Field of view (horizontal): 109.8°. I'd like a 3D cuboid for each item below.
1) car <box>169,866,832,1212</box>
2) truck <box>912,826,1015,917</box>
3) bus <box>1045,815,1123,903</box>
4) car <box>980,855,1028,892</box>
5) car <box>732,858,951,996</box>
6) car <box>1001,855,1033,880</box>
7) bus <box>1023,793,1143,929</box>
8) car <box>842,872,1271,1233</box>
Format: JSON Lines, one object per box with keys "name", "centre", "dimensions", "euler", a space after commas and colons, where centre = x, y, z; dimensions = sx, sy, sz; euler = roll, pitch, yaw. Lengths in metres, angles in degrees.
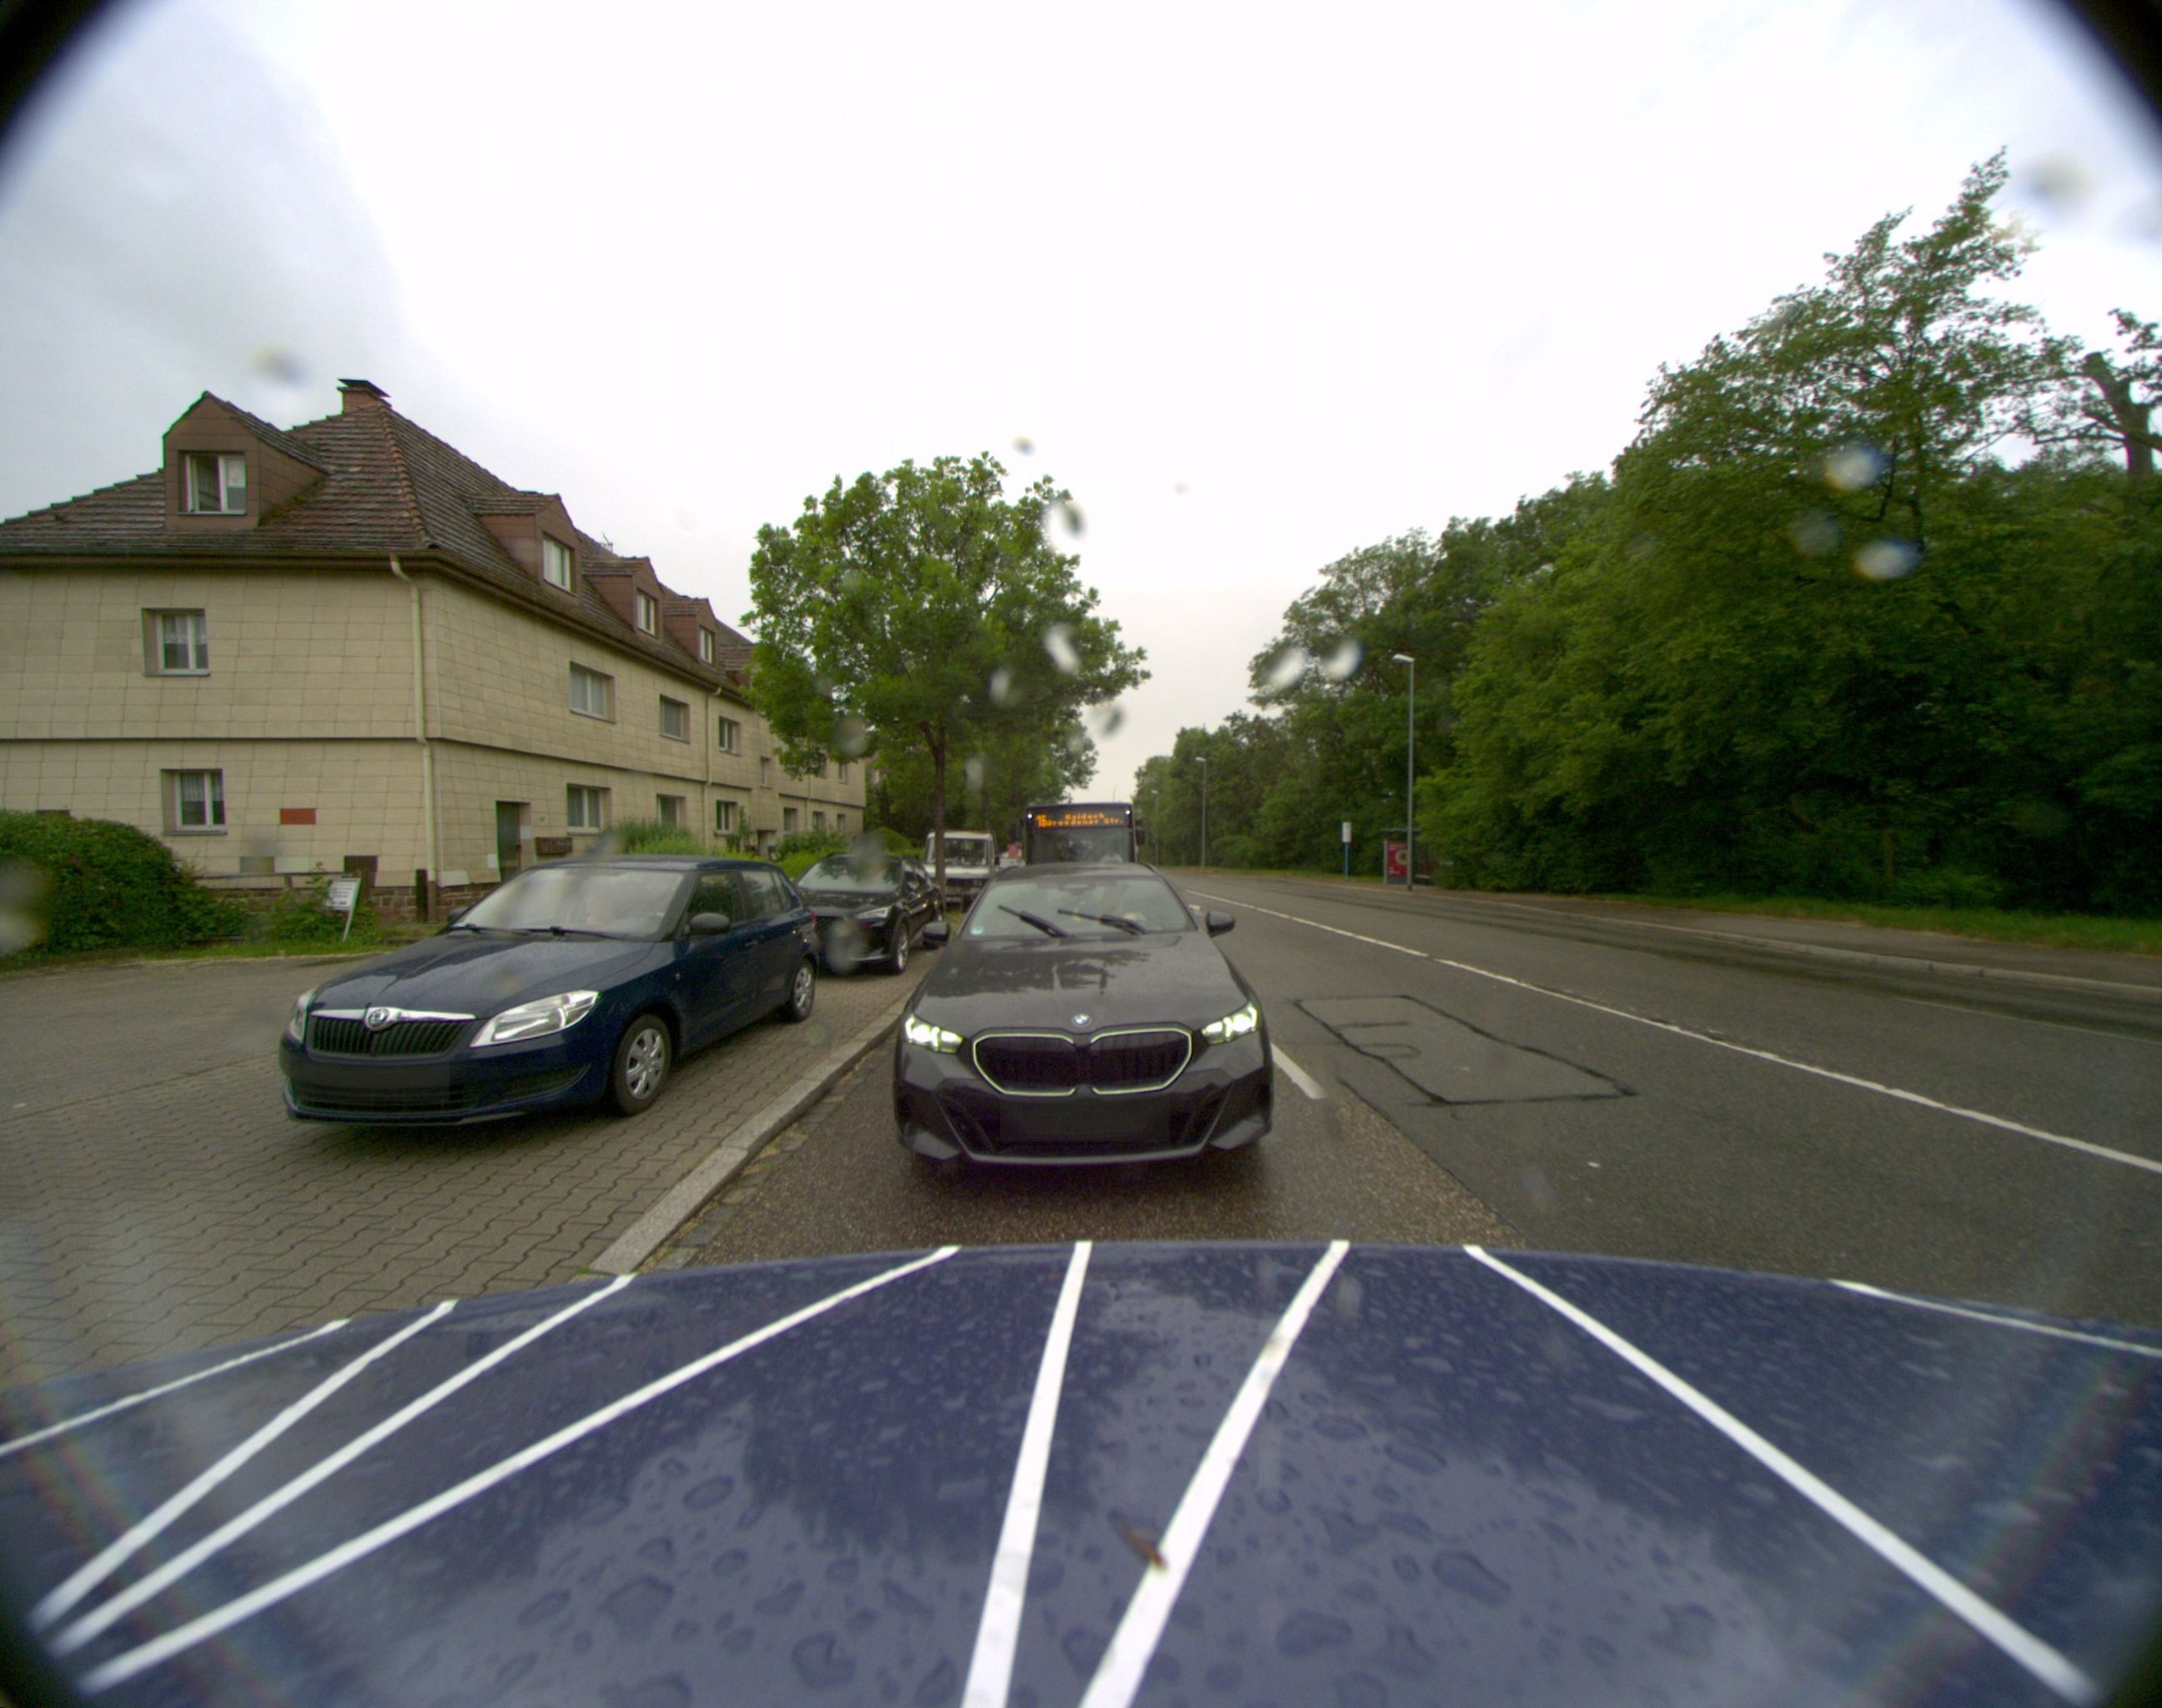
{"name": "car", "centre": [-3.227, 0.854, 5.312], "dimensions": [1.608, 1.463, 3.856], "euler": [1, 0, 1]}
{"name": "truck", "centre": [-3.237, 0.438, 22.304], "dimensions": [2.085, 2.208, 6.500], "euler": [2, 0, -1]}
{"name": "bus", "centre": [-0.093, 0.169, 30.237], "dimensions": [2.562, 2.942, 8.554], "euler": [-1, 0, -3]}
{"name": "car", "centre": [-3.314, 0.904, 33.357], "dimensions": [1.605, 1.427, 4.023], "euler": [3, -3, 0]}
{"name": "car", "centre": [-3.074, 0.840, 10.706], "dimensions": [1.718, 1.490, 4.183], "euler": [2, 0, 0]}
{"name": "car", "centre": [-3.926, 0.793, 46.980], "dimensions": [1.692, 1.381, 4.499], "euler": [1, 0, -1]}
{"name": "bus", "centre": [0.059, 0.156, 21.381], "dimensions": [2.563, 2.942, 9.449], "euler": [-1, 0, 0]}
{"name": "car", "centre": [-0.118, 0.927, 5.597], "dimensions": [1.855, 1.461, 4.483], "euler": [-1, 0, 0]}
